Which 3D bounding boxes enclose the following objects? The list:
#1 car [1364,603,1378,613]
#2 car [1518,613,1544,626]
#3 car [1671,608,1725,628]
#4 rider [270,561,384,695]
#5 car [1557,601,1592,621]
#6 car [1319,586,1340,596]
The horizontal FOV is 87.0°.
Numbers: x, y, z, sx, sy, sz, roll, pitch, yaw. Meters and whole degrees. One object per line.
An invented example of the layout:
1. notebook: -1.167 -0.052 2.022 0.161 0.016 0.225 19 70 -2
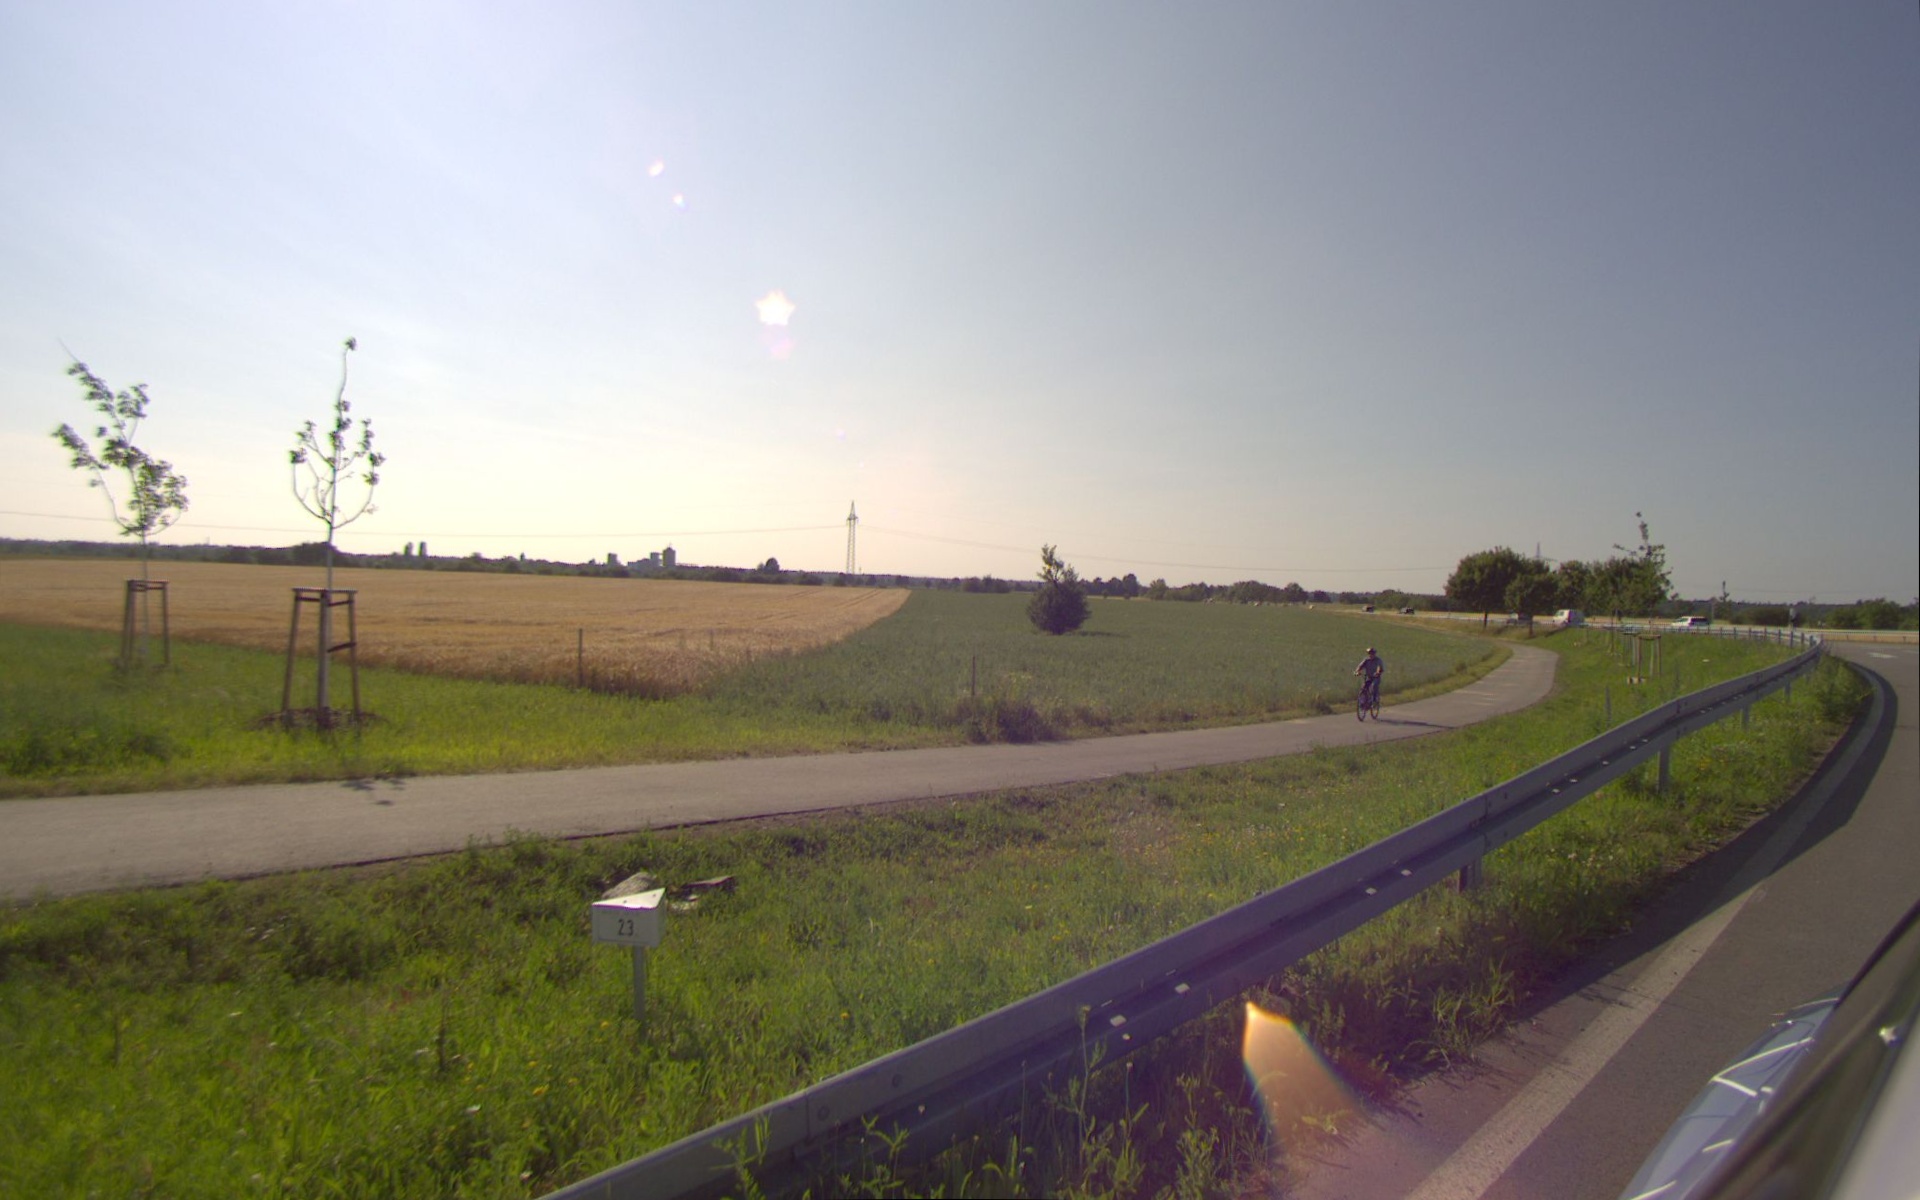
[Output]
1. car: 82.409 1.515 203.137 1.860 1.820 5.072 0 1 13
2. car: 73.201 2.485 129.744 1.774 1.467 4.682 1 -3 15
3. car: 62.699 1.582 86.086 2.092 1.512 5.123 1 -3 16
4. rider: -8.343 0.351 13.384 0.806 1.663 0.991 3 0 1
5. car: 70.964 1.274 116.970 2.091 2.040 5.128 1 -3 14
6. car: 77.681 -1.970 212.679 2.769 2.039 6.090 0 0 7
